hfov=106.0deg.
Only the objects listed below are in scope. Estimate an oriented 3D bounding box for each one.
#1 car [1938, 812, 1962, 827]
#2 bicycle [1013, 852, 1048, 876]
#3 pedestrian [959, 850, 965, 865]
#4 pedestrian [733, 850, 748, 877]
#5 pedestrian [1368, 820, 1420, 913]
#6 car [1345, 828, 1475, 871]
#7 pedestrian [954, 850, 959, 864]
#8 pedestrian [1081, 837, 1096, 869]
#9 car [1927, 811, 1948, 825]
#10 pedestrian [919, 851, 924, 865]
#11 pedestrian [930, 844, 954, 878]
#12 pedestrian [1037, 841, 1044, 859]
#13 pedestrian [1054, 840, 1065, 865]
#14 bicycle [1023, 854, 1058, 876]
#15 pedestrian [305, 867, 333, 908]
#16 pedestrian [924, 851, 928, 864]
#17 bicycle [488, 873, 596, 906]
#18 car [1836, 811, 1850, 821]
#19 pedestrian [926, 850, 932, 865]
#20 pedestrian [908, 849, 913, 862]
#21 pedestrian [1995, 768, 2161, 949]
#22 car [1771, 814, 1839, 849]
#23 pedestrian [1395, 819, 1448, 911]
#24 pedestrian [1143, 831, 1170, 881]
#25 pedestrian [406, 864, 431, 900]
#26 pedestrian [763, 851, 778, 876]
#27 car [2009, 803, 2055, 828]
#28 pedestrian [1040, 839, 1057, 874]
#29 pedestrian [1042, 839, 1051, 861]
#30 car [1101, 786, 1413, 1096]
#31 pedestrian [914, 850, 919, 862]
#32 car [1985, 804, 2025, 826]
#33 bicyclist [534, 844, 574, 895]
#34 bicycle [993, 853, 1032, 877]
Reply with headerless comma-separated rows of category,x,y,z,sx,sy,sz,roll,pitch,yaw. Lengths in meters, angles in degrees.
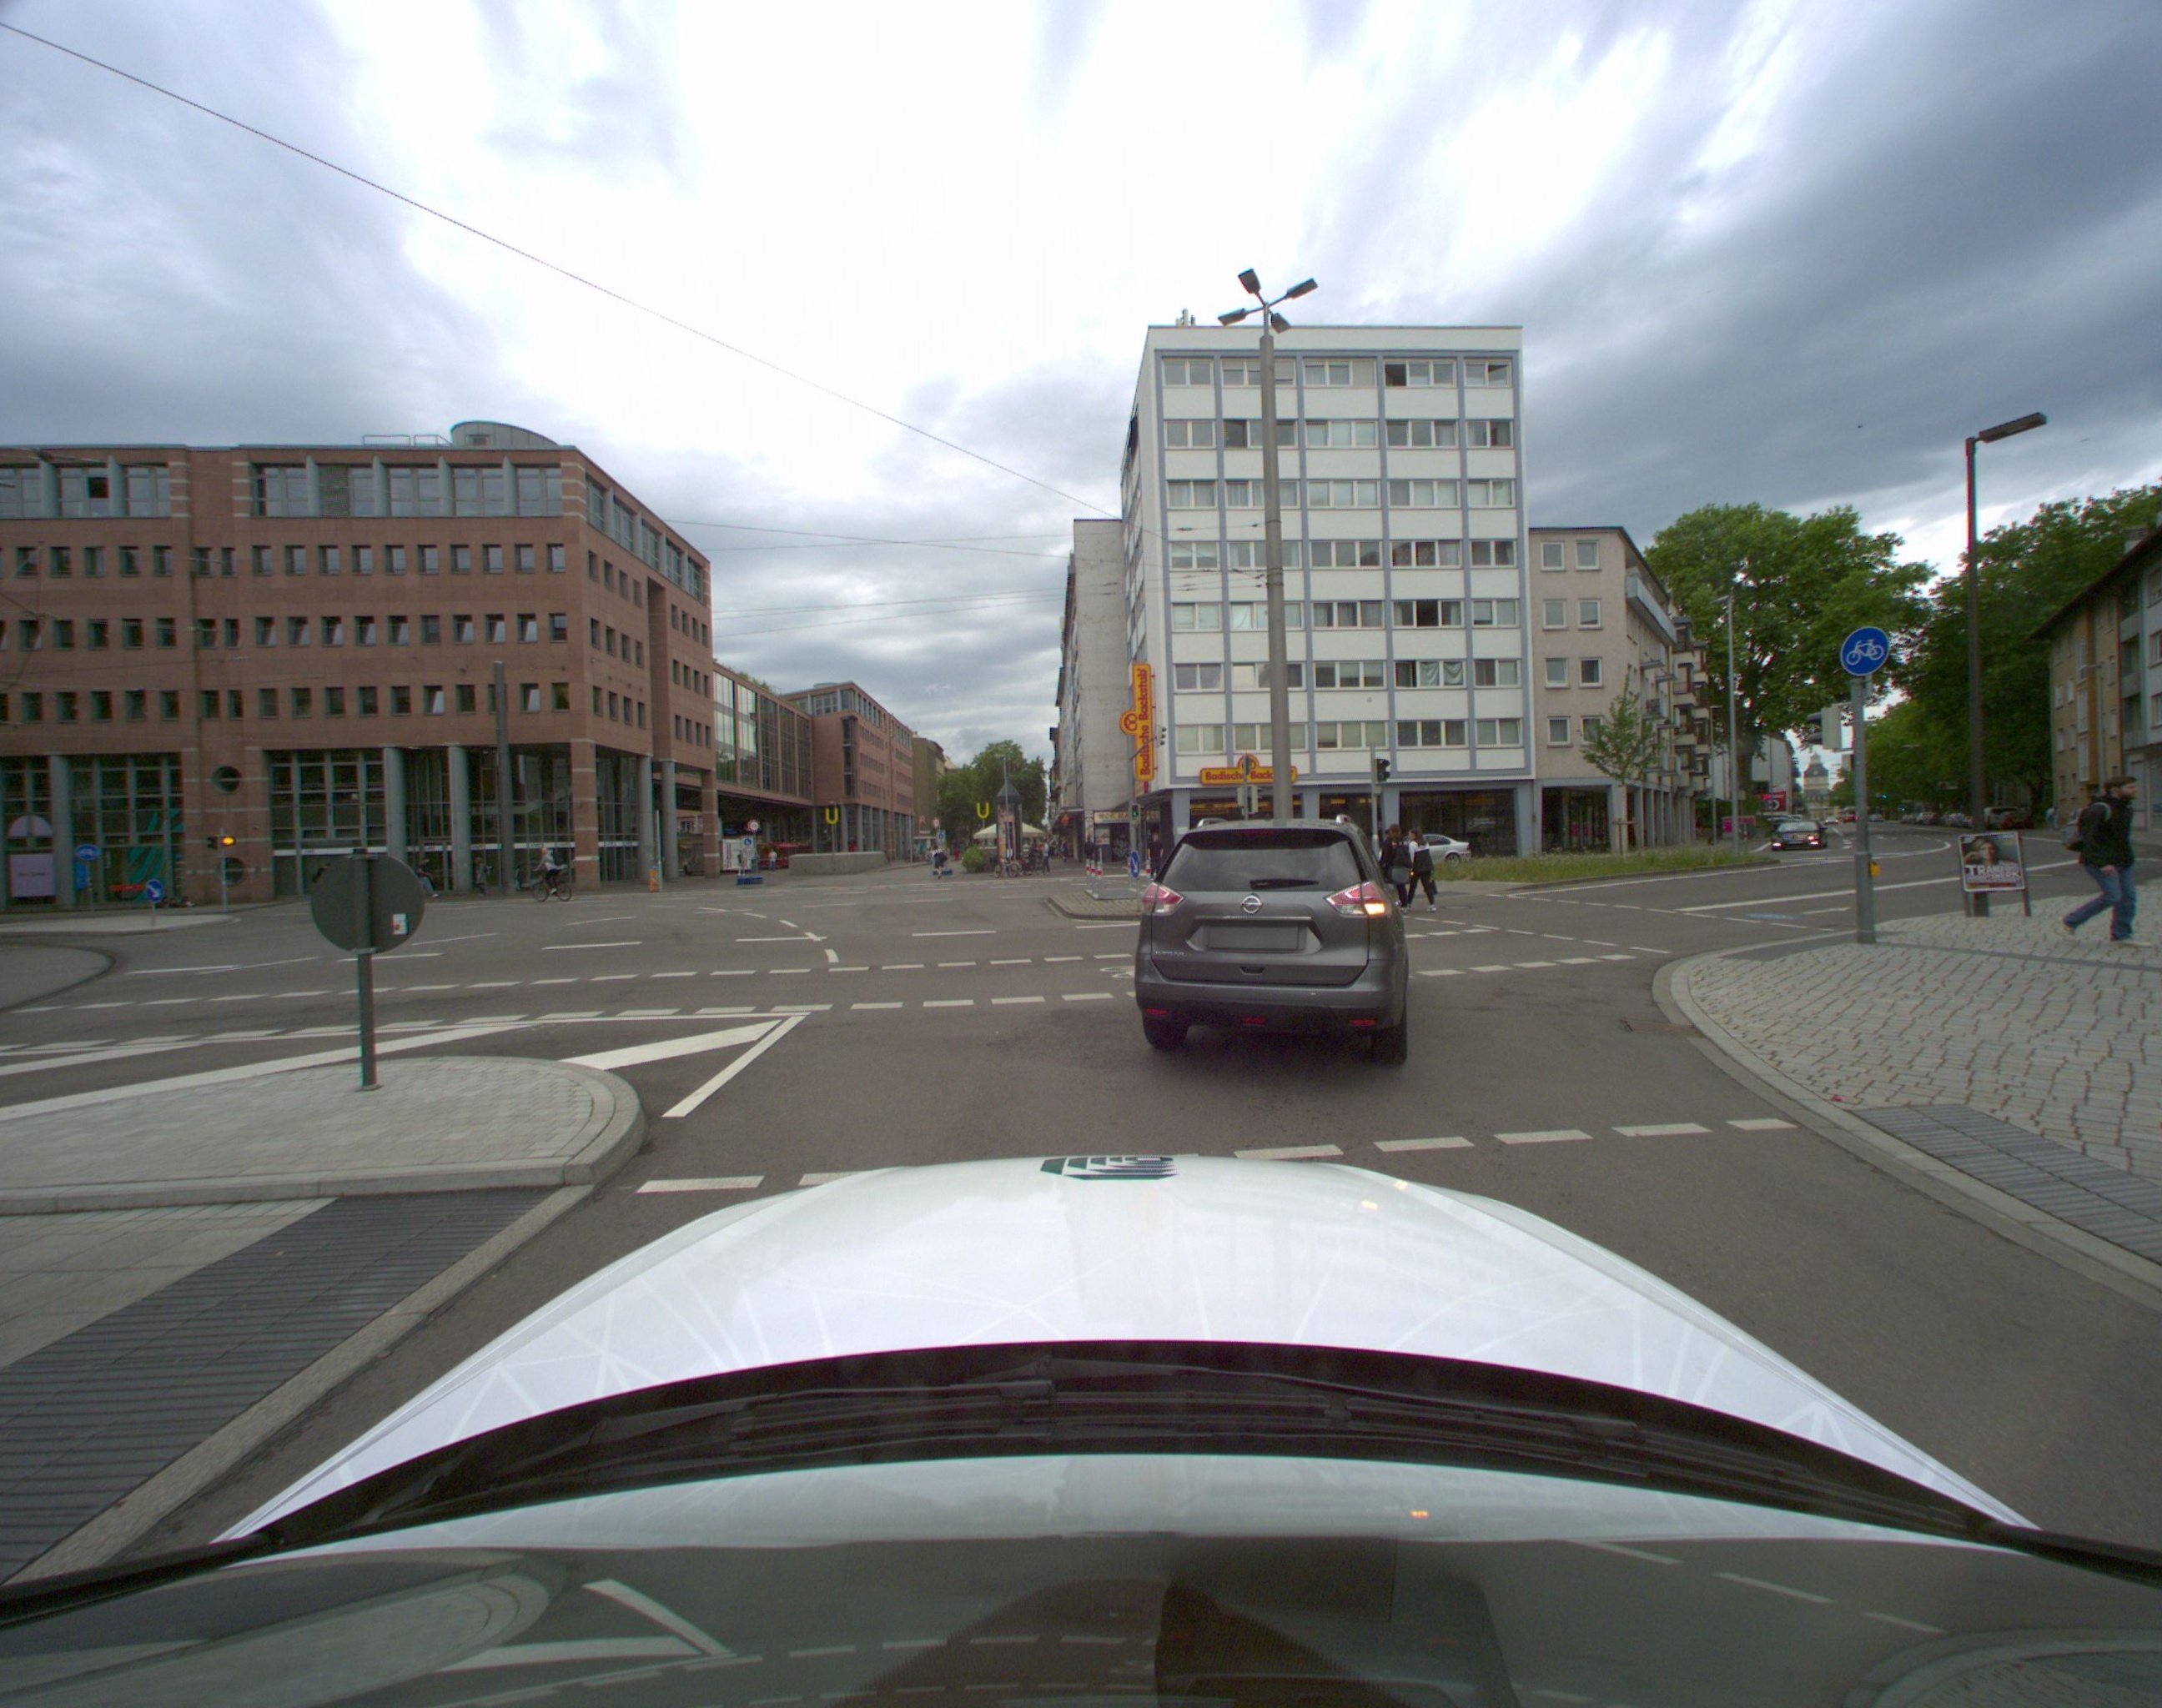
car,105.512,-4.165,98.891,1.846,1.774,4.008,0,3,44
bicycle,-2.578,0.505,41.504,1.696,1.171,0.436,-1,0,-10
pedestrian,-14.612,0.432,100.092,0.600,1.714,0.653,-1,0,-10
pedestrian,-22.989,0.645,55.015,0.699,1.841,0.733,-1,0,-6
pedestrian,6.110,0.240,15.920,0.621,1.761,0.777,-1,0,-10
car,13.271,-0.200,32.993,4.545,1.481,1.745,-3,0,-6
pedestrian,-15.309,0.418,99.957,0.600,1.714,0.653,-1,0,-10
pedestrian,0.438,-0.060,44.964,0.706,1.705,0.736,-1,0,9
car,116.264,-4.854,110.599,1.846,1.774,4.008,0,3,44
pedestrian,-19.748,0.504,100.780,0.600,1.714,0.653,-1,0,-10
pedestrian,-7.174,0.366,42.045,0.918,1.705,0.738,-1,0,16
pedestrian,-3.829,-0.408,77.586,0.610,1.705,0.619,-1,0,-2
pedestrian,-1.595,-0.087,60.698,0.736,1.821,0.661,-2,0,-5
bicycle,-2.020,0.555,40.916,1.688,1.065,0.438,-1,0,3
pedestrian,-31.958,1.393,34.168,0.746,1.688,0.569,-1,-1,-29
pedestrian,-20.758,0.405,109.044,0.600,1.714,0.653,-1,0,-10
bicycle,-19.493,1.267,29.506,3.258,1.044,0.904,-2,0,-2
car,141.045,-6.980,150.729,1.846,1.774,4.008,0,3,44
pedestrian,-15.403,0.365,82.600,0.600,1.536,0.653,-1,0,-10
pedestrian,-23.393,0.182,111.900,0.600,1.714,0.653,-1,0,-10
pedestrian,11.270,0.034,9.084,0.799,1.862,1.155,-4,0,7
car,34.104,-1.074,38.325,4.591,1.481,1.728,-3,0,-41
pedestrian,6.723,0.212,16.095,0.621,1.761,0.777,-1,0,-10
pedestrian,2.834,0.054,30.633,0.713,1.832,1.013,-1,0,-10
pedestrian,-29.170,1.226,35.858,0.746,1.560,0.569,-1,-1,-29
pedestrian,-22.612,0.675,59.370,0.695,1.841,0.738,-1,0,17
car,70.948,-2.880,60.824,1.846,1.774,4.008,0,3,44
pedestrian,-1.607,0.122,40.548,0.732,1.745,0.661,-1,0,-11
pedestrian,-2.665,-0.316,63.479,0.641,1.705,0.558,-1,0,-2
car,1.823,0.487,7.127,1.847,1.774,4.590,-1,0,21
pedestrian,-22.620,0.279,112.029,0.600,1.714,0.653,-1,0,-10
car,75.912,-3.226,66.925,1.846,1.774,4.008,0,3,44
bicyclist,-19.076,0.545,29.488,0.872,1.812,0.836,-1,0,-2
bicycle,-3.439,0.549,40.712,1.872,1.171,0.528,-1,0,-17
